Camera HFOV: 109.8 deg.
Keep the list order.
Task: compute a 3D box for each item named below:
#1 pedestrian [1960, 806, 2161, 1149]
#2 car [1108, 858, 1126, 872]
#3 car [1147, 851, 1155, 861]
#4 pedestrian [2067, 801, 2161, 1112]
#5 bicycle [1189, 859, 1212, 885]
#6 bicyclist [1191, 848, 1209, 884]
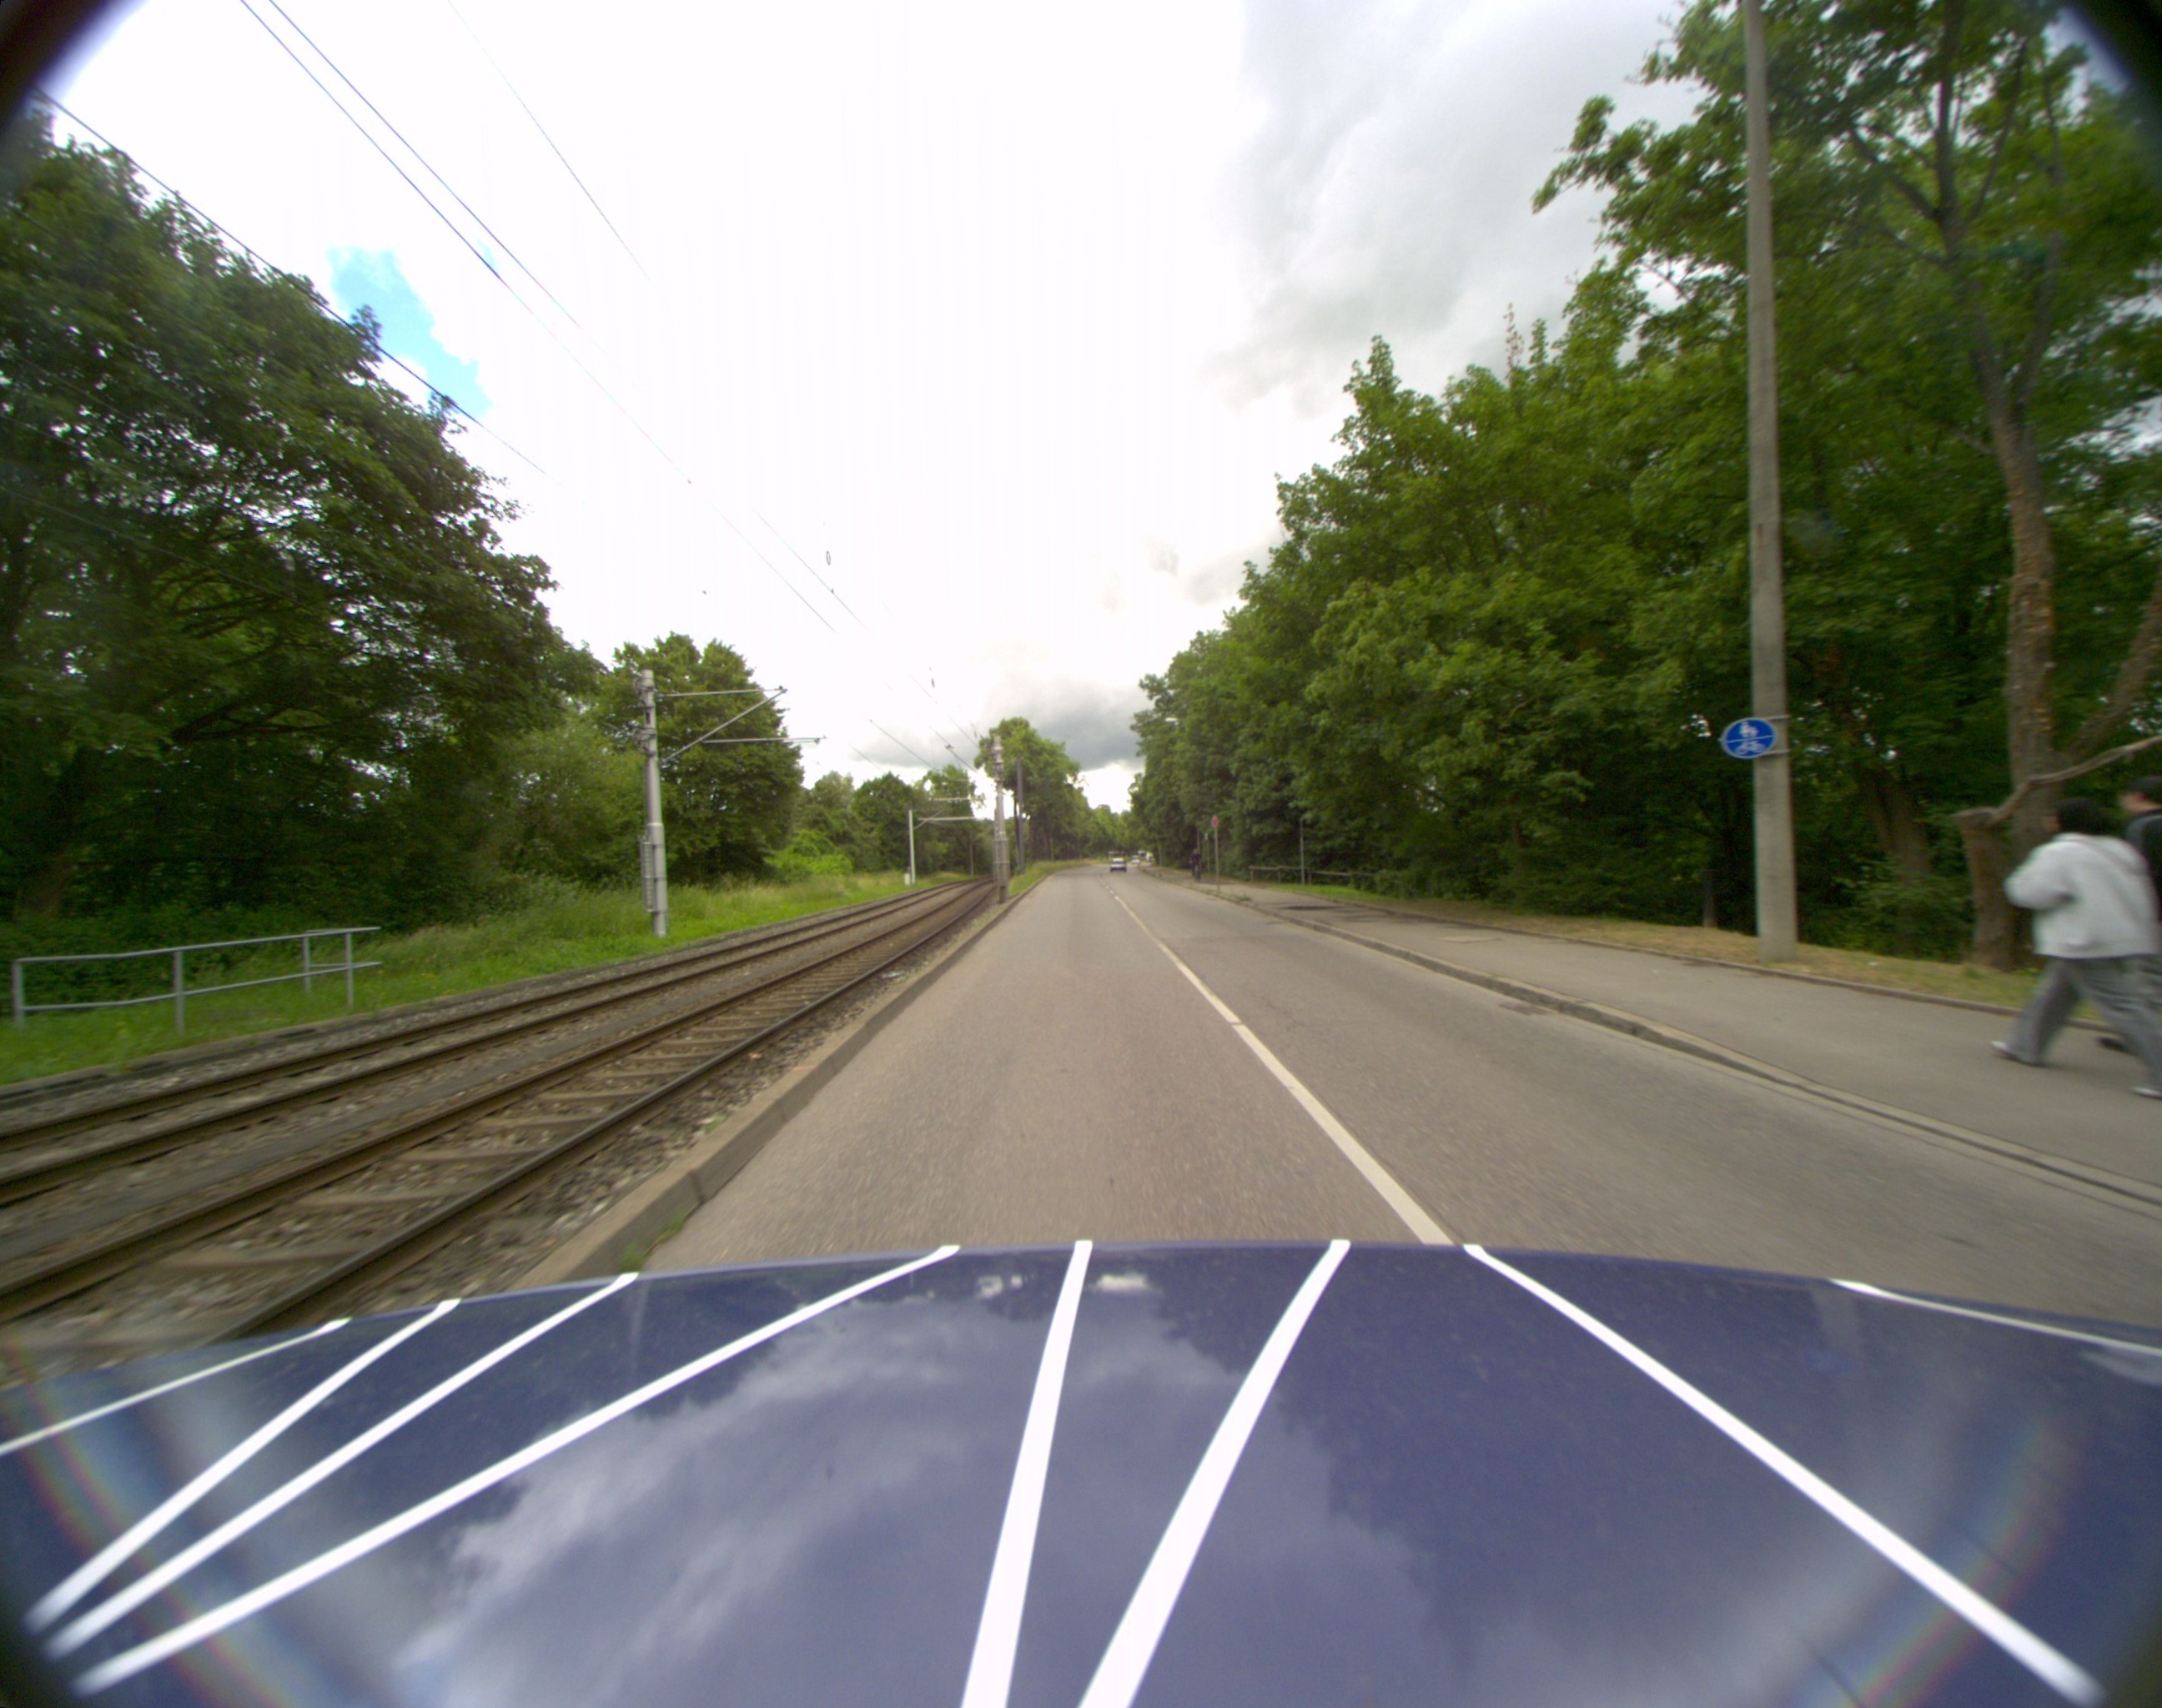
[{"bbox_3d":[5.814,0.637,4.292,0.552,1.755,0.858,-6,0,0],"label":"pedestrian"},{"bbox_3d":[4.023,1.182,85.314,1.799,1.483,4.180,0,0,0],"label":"car"},{"bbox_3d":[18.966,0.463,205.592,1.998,2.611,5.896,0,0,3],"label":"car"},{"bbox_3d":[6.486,0.578,4.326,0.588,1.792,0.822,-3,0,0],"label":"pedestrian"},{"bbox_3d":[6.569,0.979,41.907,0.700,1.324,2.279,-3,1,-3],"label":"bicycle"},{"bbox_3d":[6.552,0.674,41.894,0.688,1.937,0.835,-3,1,-3],"label":"bicyclist"}]
